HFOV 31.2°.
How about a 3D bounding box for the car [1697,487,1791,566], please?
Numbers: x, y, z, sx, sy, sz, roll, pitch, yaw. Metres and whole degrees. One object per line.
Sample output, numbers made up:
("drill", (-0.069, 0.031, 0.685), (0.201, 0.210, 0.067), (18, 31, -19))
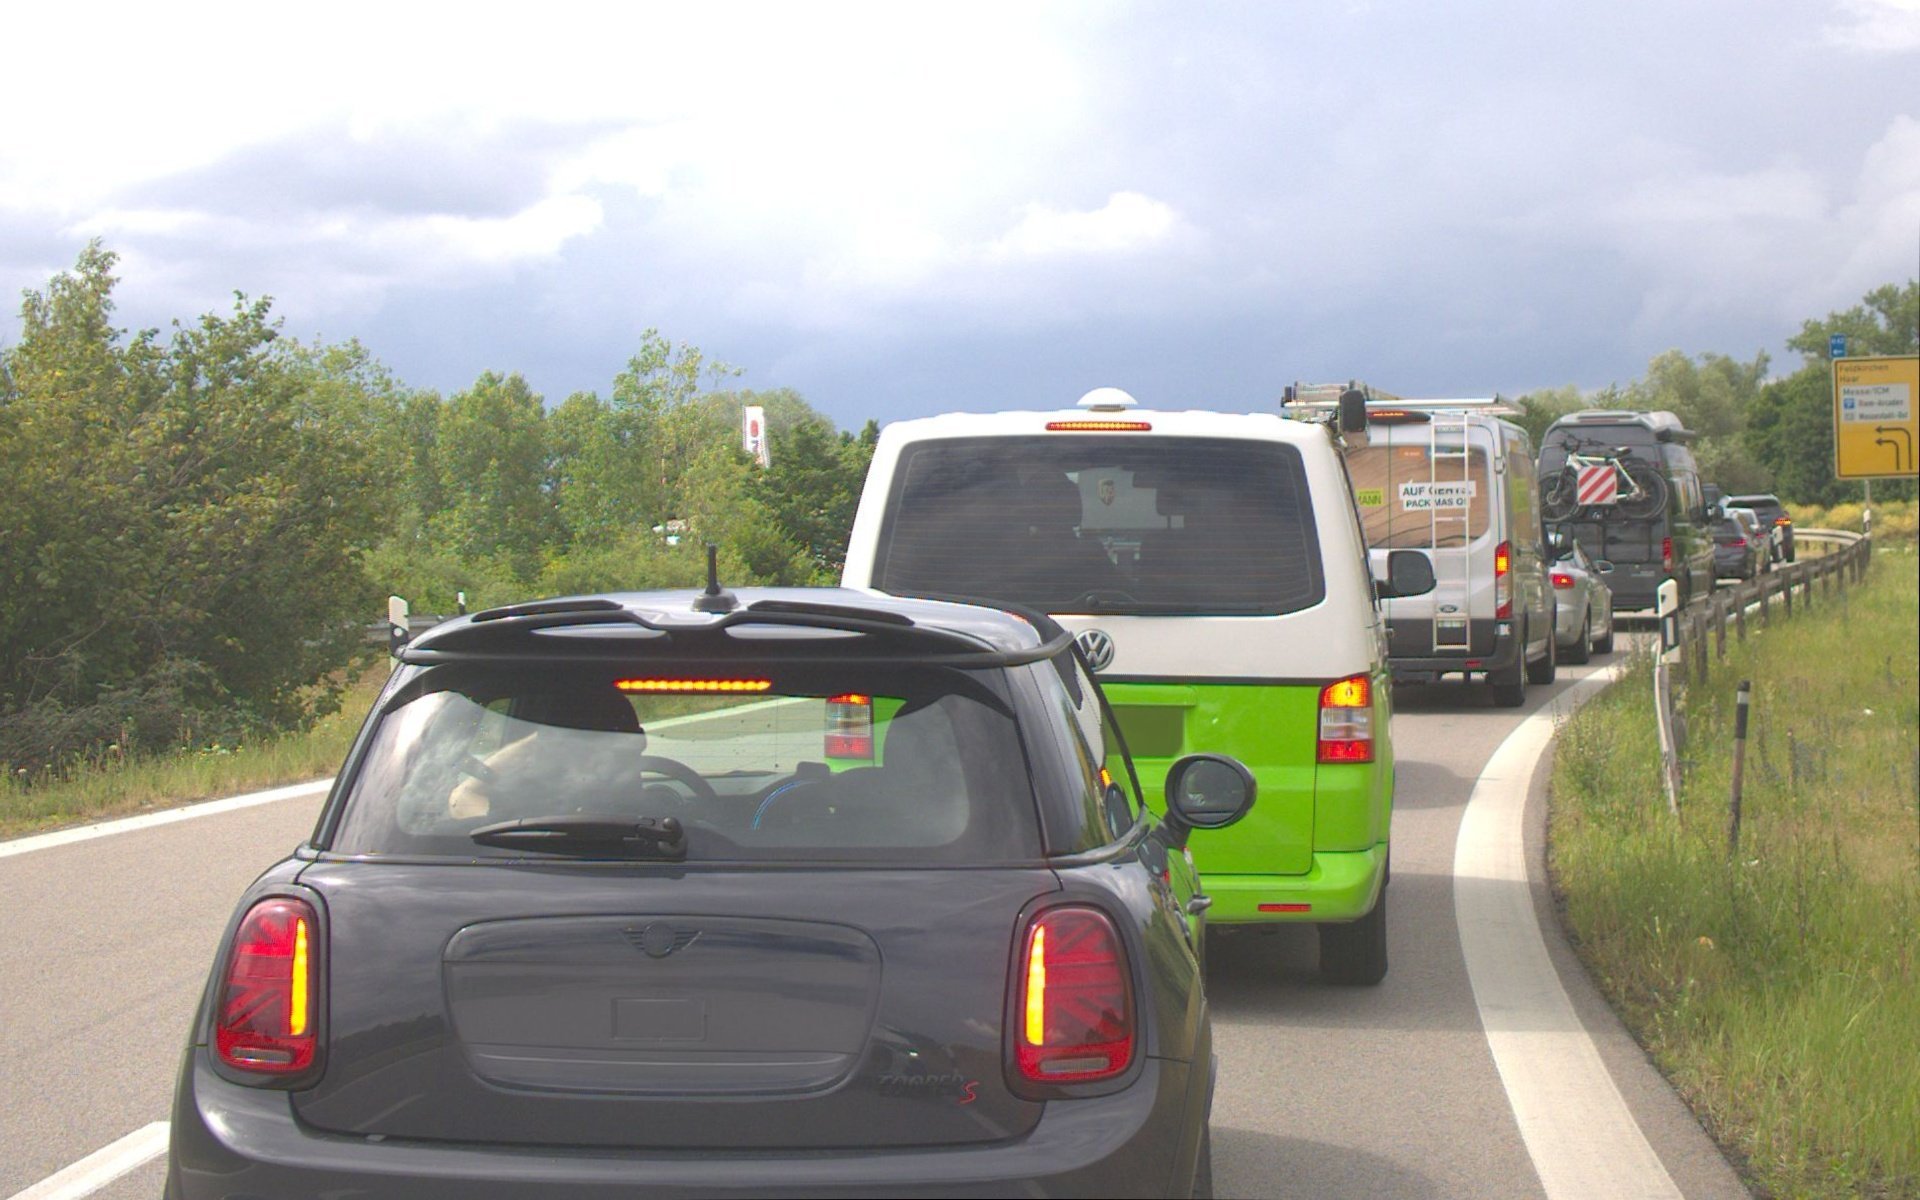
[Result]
("car", (19.491, -1.816, 85.587), (2.096, 1.876, 4.493), (1, 1, 11))

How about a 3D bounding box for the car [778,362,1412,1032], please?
("car", (0.674, 0.260, 12.654), (1.911, 2.038, 4.180), (0, 1, 8))

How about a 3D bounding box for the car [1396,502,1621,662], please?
("car", (6.057, -0.206, 37.615), (1.995, 1.636, 3.926), (1, 1, 15))

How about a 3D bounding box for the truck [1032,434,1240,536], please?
("truck", (7.064, -4.617, 140.136), (2.836, 3.962, 10.029), (0, 1, -35))

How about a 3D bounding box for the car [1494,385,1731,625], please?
("car", (9.071, -1.249, 47.307), (2.313, 3.058, 6.656), (1, 1, 18))

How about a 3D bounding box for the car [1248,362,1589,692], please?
("car", (4.136, -0.612, 30.159), (2.213, 2.613, 5.530), (1, 1, 15))

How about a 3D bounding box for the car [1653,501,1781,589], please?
("car", (14.274, -1.019, 64.683), (1.895, 1.583, 4.491), (1, 1, 18))

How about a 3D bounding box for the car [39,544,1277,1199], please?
("car", (-0.334, 0.673, 6.839), (1.800, 1.541, 3.738), (0, 1, 4))

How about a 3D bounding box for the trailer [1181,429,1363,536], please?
("trailer", (11.899, -4.453, 132.011), (3.035, 3.884, 8.775), (1, 1, -24))
